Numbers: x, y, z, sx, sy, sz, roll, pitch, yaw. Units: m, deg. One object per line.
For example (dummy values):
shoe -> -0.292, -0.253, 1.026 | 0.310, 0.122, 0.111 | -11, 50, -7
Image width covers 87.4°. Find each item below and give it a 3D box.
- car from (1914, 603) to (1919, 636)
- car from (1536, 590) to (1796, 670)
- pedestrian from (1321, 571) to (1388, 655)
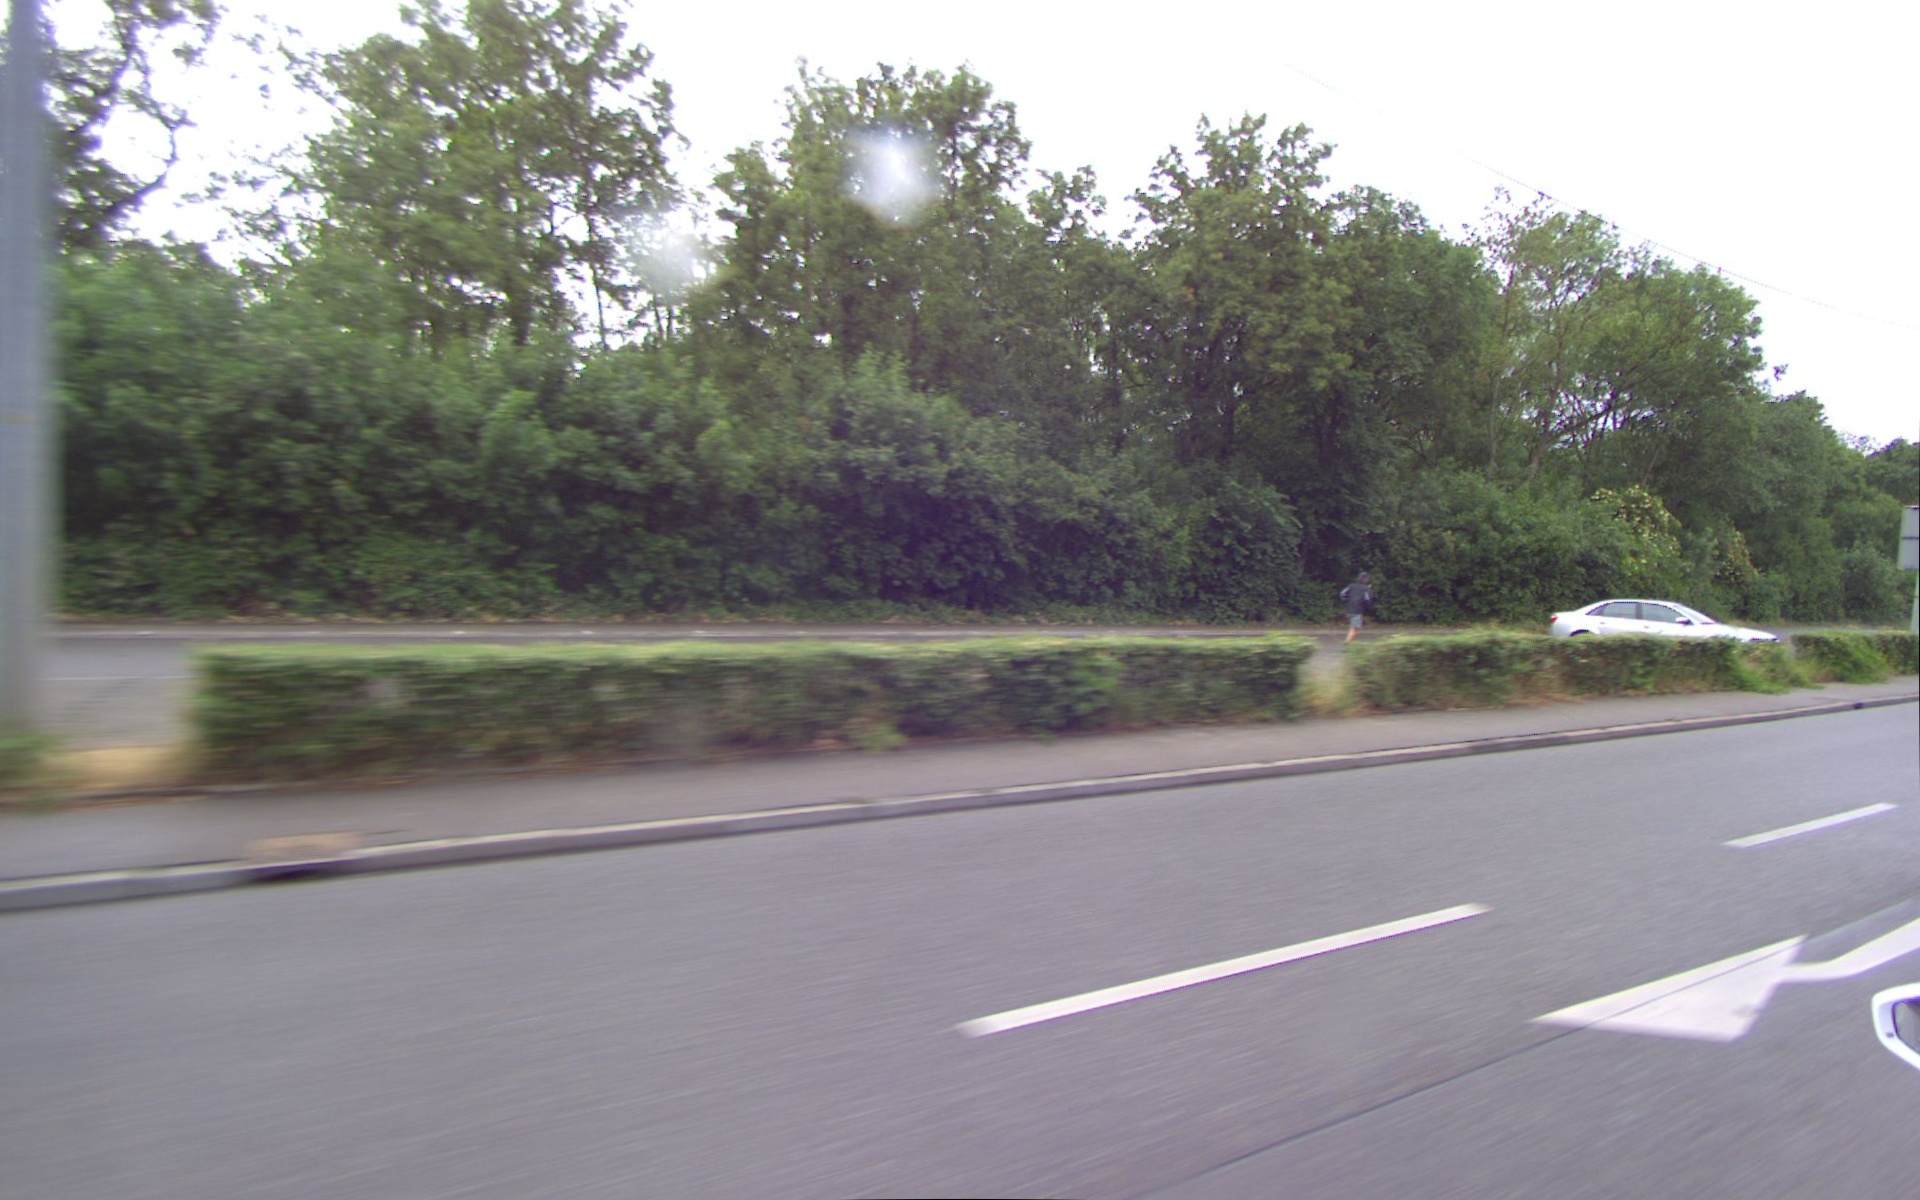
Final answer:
car -> 52.345, 1.104, 51.799 | 1.981, 1.731, 4.260 | 1, 2, -36
car -> 16.261, 0.624, 23.347 | 1.983, 1.526, 4.537 | 1, 2, -39
pedestrian -> 8.865, 0.281, 22.564 | 1.121, 1.822, 0.814 | 1, 1, -27
